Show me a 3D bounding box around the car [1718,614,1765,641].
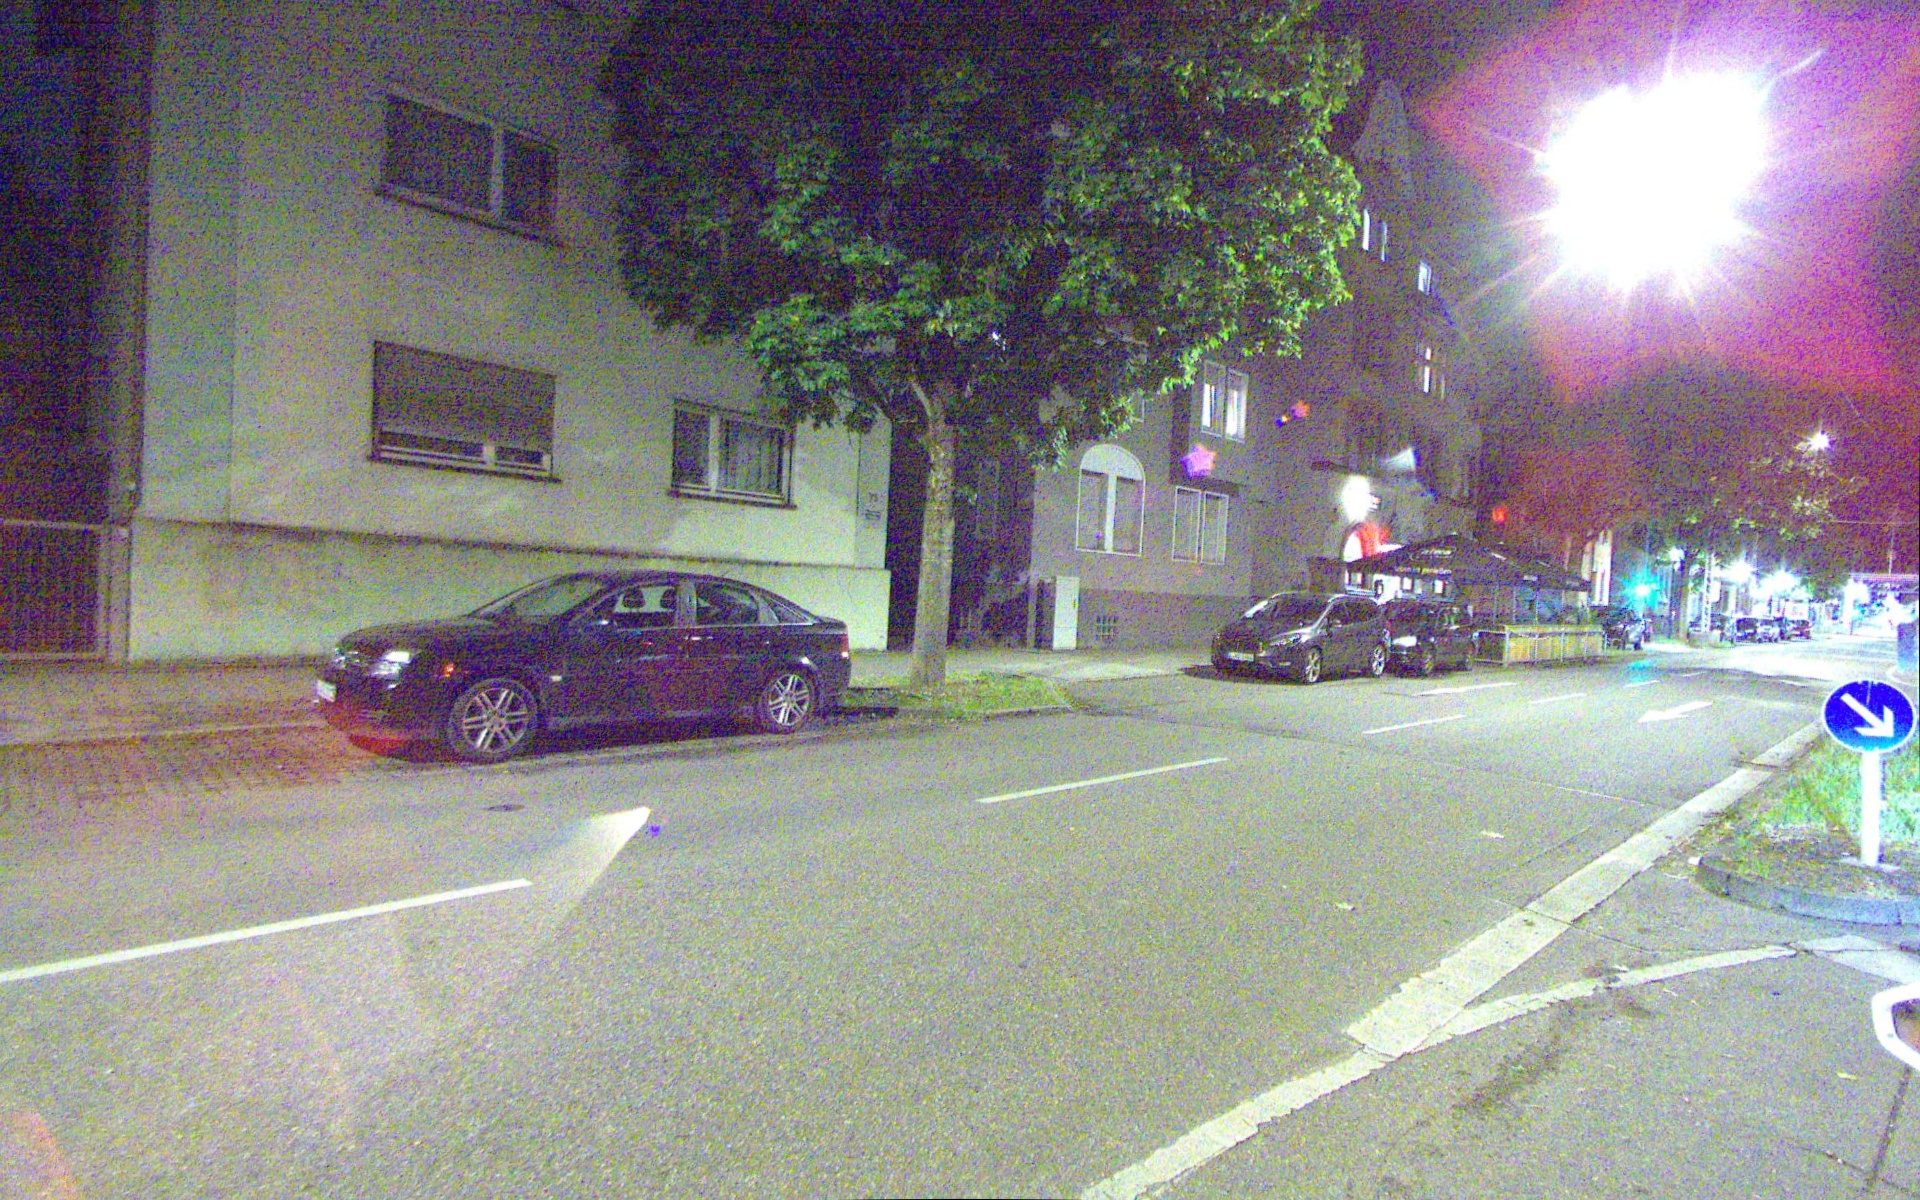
[{"bbox_3d":[44.841,1.558,57.616,1.634,1.450,3.975,3,1,45],"label":"car"}]

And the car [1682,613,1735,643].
[{"bbox_3d":[38.853,1.448,52.098,1.634,1.450,3.975,3,1,45],"label":"car"}]

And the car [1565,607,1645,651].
[{"bbox_3d":[23.657,1.054,36.814,1.634,1.450,3.975,3,1,45],"label":"car"}]

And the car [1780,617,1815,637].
[{"bbox_3d":[63.604,2.047,76.267,1.634,1.450,3.975,3,1,45],"label":"car"}]

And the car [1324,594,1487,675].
[{"bbox_3d":[9.653,0.711,21.575,1.785,1.501,4.297,4,1,44],"label":"car"}]

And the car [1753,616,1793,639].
[{"bbox_3d":[53.953,1.820,66.621,1.634,1.450,3.975,3,1,45],"label":"car"}]

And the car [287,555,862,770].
[{"bbox_3d":[-3.055,0.434,8.774,1.604,1.401,4.428,3,1,42],"label":"car"}]

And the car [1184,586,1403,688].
[{"bbox_3d":[6.095,0.600,18.076,4.423,1.491,1.880,1,4,-45],"label":"car"}]

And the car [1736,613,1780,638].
[{"bbox_3d":[49.252,1.574,61.966,1.634,1.450,3.975,3,1,45],"label":"car"}]
